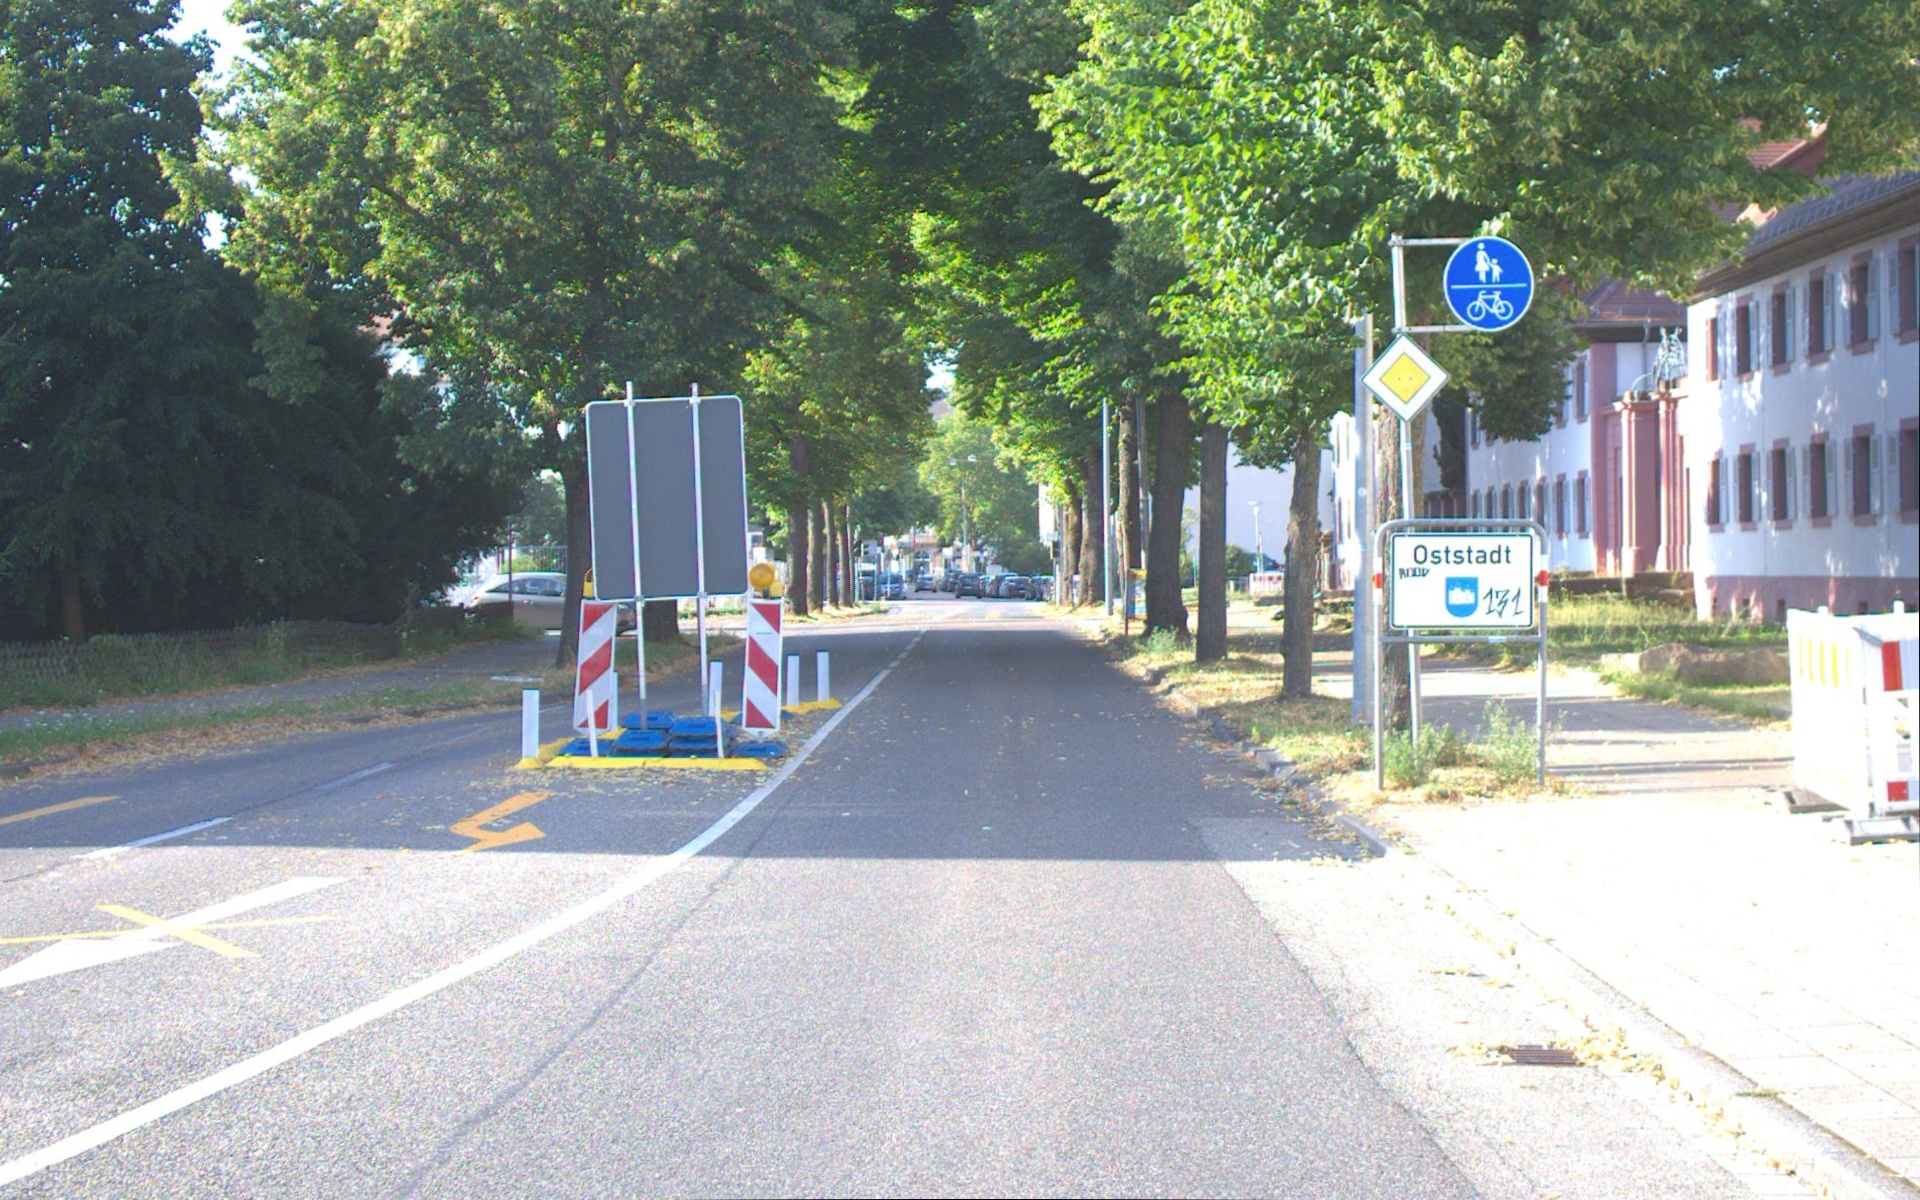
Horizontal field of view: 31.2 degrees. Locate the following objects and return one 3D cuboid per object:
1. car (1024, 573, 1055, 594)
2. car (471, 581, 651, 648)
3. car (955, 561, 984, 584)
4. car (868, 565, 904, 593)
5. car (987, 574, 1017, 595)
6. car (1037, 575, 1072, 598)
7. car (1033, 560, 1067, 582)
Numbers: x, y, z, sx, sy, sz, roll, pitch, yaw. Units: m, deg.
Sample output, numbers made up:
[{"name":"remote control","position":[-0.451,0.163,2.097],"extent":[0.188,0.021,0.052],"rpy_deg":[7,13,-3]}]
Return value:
[{"name":"car","position":[4.914,-0.998,212.985],"extent":[1.841,1.257,4.000],"rpy_deg":[-1,0,0]},{"name":"car","position":[-9.039,0.324,78.037],"extent":[3.844,1.468,1.651],"rpy_deg":[0,1,3]},{"name":"car","position":[0.628,-1.887,236.227],"extent":[1.714,1.481,4.000],"rpy_deg":[-2,0,-3]},{"name":"car","position":[-4.696,-1.311,218.287],"extent":[1.993,1.682,4.000],"rpy_deg":[-1,0,-5]},{"name":"car","position":[2.934,-1.097,242.051],"extent":[1.841,1.381,4.000],"rpy_deg":[-1,0,-3]},{"name":"car","position":[5.384,-0.779,195.986],"extent":[1.841,1.257,4.000],"rpy_deg":[-1,0,0]},{"name":"car","position":[5.419,-1.742,206.005],"extent":[1.841,1.256,4.000],"rpy_deg":[-1,1,4]}]
